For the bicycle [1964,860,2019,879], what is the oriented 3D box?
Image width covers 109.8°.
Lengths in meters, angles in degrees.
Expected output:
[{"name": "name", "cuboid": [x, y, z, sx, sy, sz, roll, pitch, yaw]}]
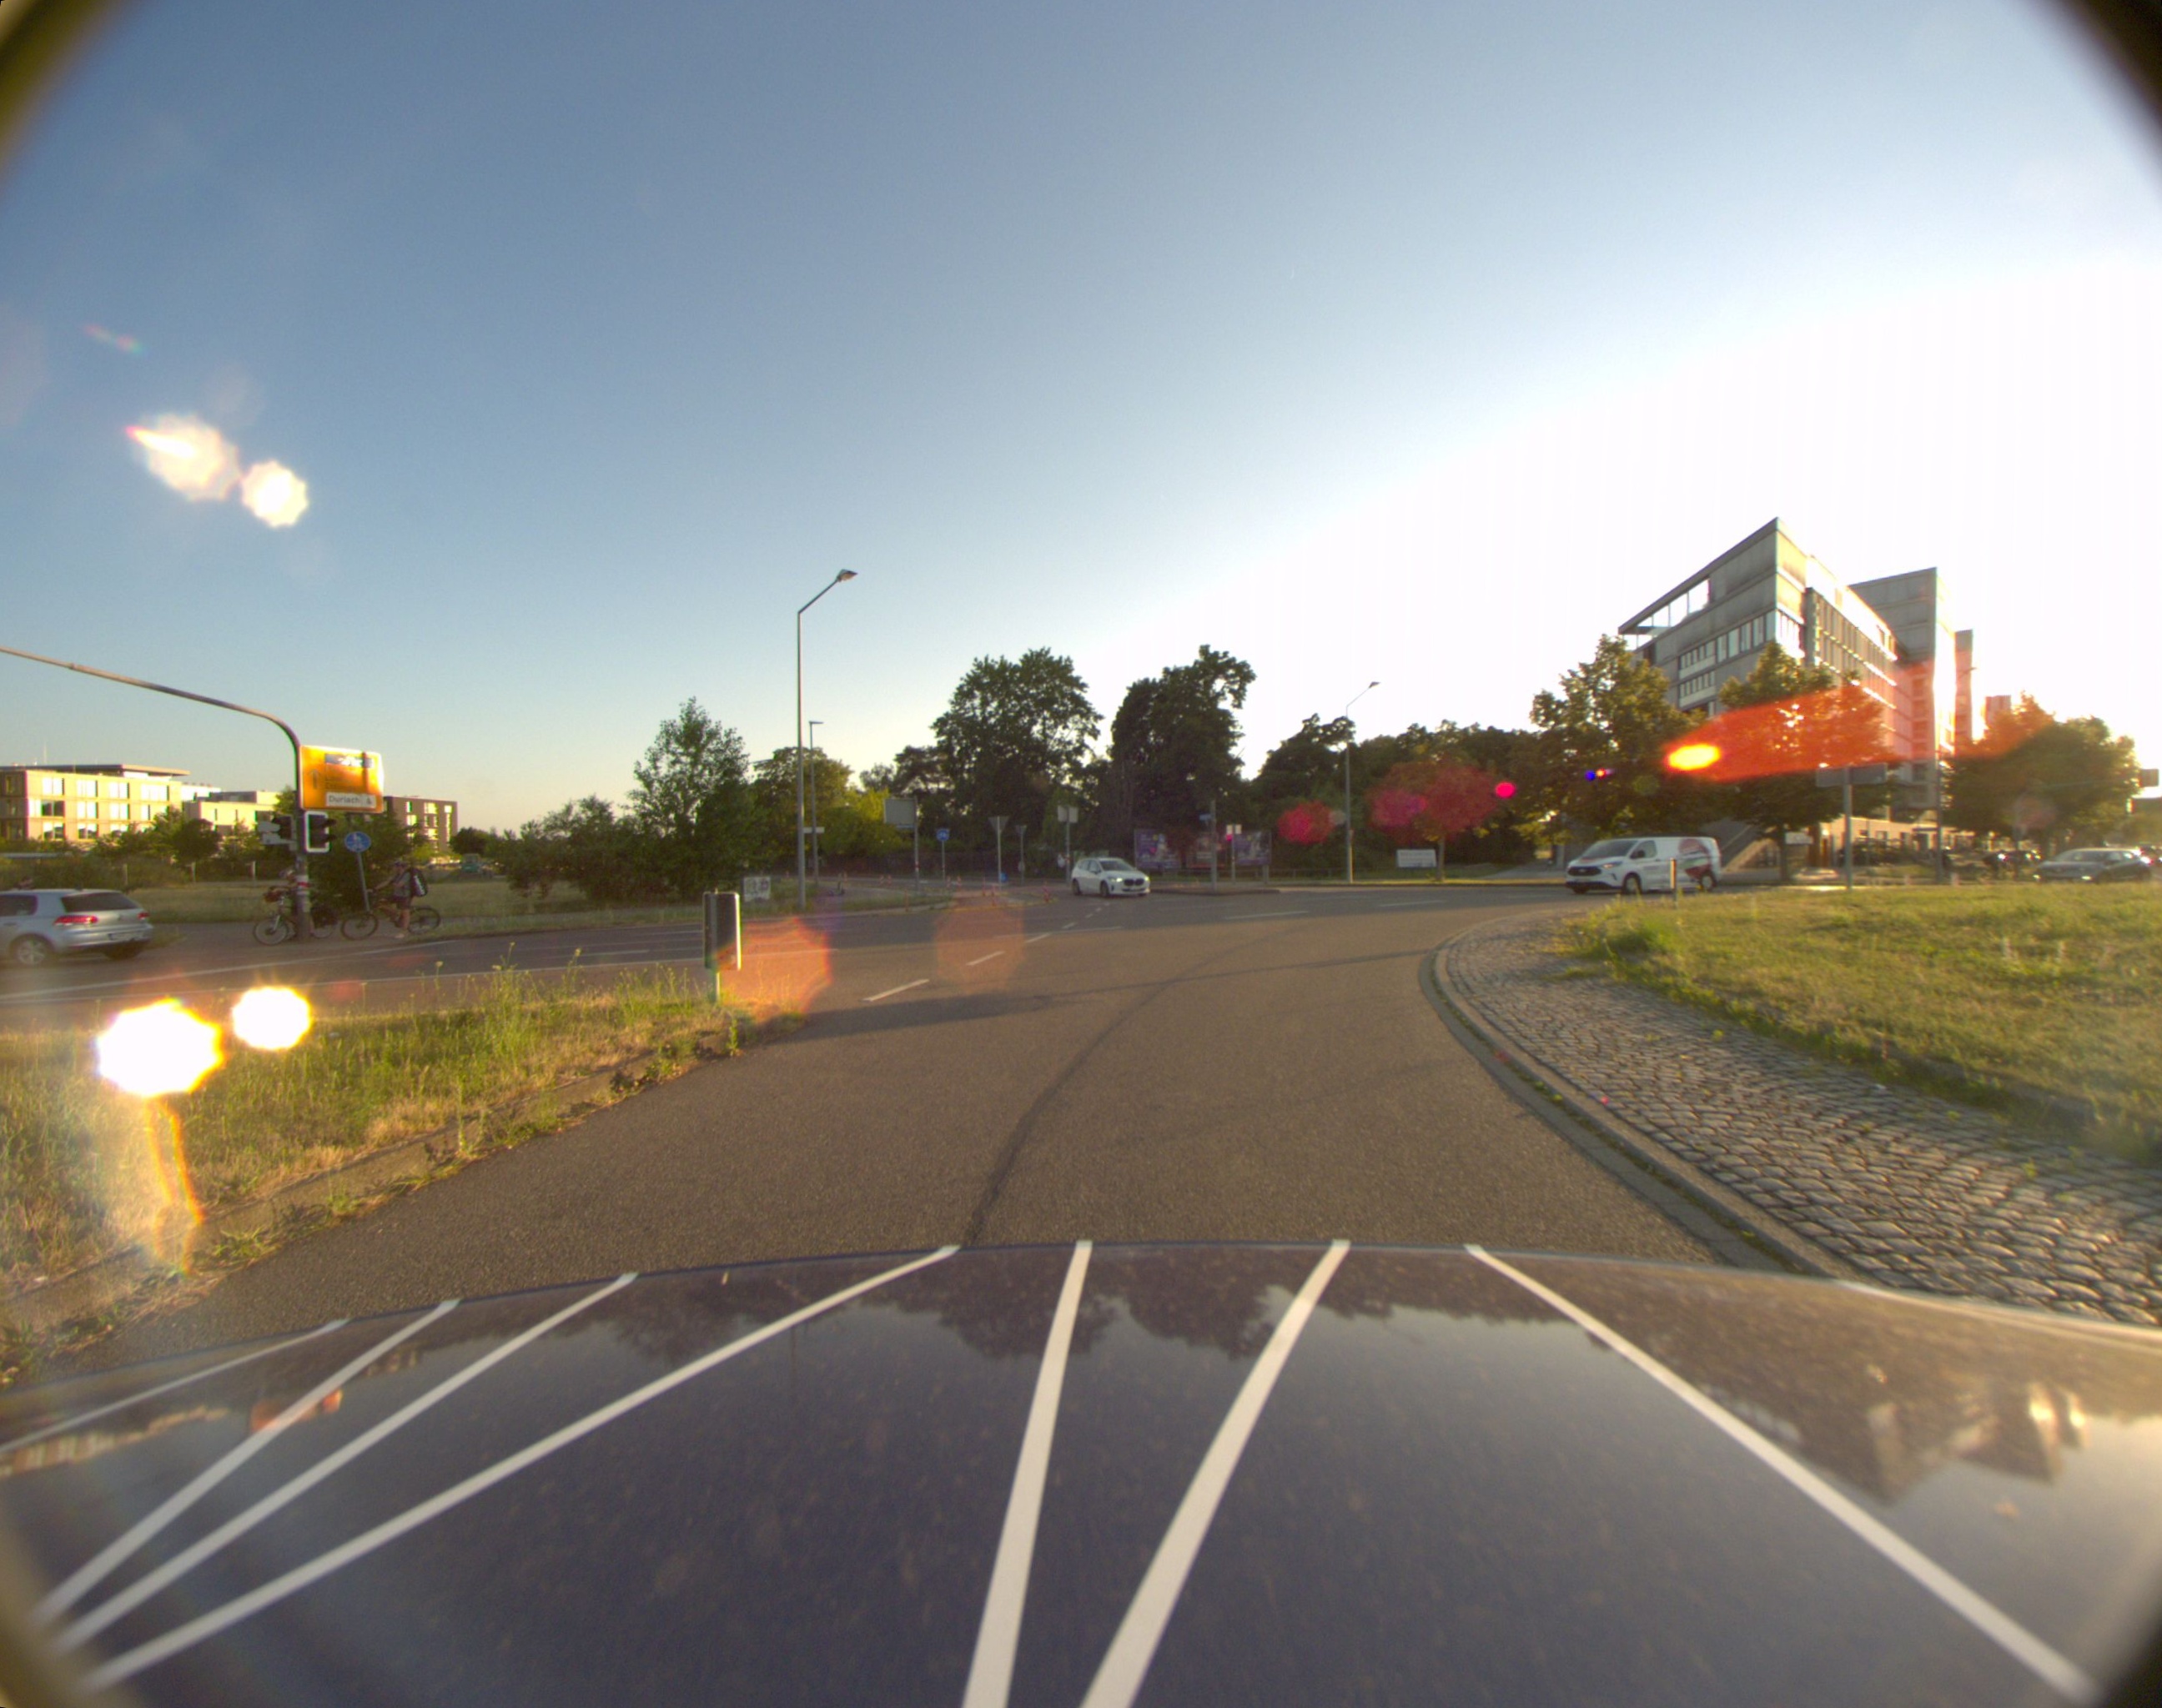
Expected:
[{"name": "bicycle", "cuboid": [49.525, 0.814, 41.350, 0.438, 1.016, 1.859, -1, 0, -29]}]

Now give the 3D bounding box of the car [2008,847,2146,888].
[{"name": "car", "cuboid": [40.574, 0.519, 30.990, 4.000, 1.527, 1.744, -1, 0, -9]}]

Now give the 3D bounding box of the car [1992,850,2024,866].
[{"name": "car", "cuboid": [89.174, 0.405, 73.075, 4.008, 1.455, 1.798, 0, 0, -37]}]

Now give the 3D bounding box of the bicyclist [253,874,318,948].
[{"name": "bicyclist", "cuboid": [-19.128, 1.347, 18.292, 0.641, 1.693, 0.770, -1, 3, 1]}]

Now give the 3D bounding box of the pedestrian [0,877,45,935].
[{"name": "pedestrian", "cuboid": [-29.286, 1.418, 20.850, 0.567, 1.541, 0.797, -1, 1, 4]}]

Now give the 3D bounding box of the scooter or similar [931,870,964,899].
[{"name": "scooter or similar", "cuboid": [-5.545, 1.241, 31.625, 0.441, 1.156, 1.386, 0, 0, 39]}]

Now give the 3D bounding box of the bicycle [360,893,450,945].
[{"name": "bicycle", "cuboid": [-17.045, 1.611, 19.228, 0.456, 1.079, 1.928, -1, 2, 2]}]

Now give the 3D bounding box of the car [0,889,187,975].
[{"name": "car", "cuboid": [-20.983, 1.532, 14.964, 4.051, 1.472, 1.891, -1, 0, -10]}]

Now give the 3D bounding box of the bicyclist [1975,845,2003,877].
[{"name": "bicyclist", "cuboid": [48.974, 0.375, 40.986, 0.805, 1.745, 0.847, -1, 0, -30]}]

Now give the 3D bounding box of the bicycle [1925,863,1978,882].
[{"name": "bicycle", "cuboid": [47.177, 0.991, 41.204, 1.858, 1.016, 0.308, -1, 0, 44]}]

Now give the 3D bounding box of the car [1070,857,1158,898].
[{"name": "car", "cuboid": [1.276, 0.902, 31.031, 1.893, 1.549, 4.087, -1, 0, -25]}]

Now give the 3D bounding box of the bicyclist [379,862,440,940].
[{"name": "bicyclist", "cuboid": [-16.998, 1.178, 19.257, 0.641, 1.887, 0.910, -1, 2, 1]}]

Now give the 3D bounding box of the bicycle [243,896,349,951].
[{"name": "bicycle", "cuboid": [-19.042, 1.661, 18.500, 0.456, 1.079, 1.928, -1, 3, 2]}]

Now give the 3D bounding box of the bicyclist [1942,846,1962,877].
[{"name": "bicyclist", "cuboid": [47.350, 0.395, 41.310, 0.682, 1.638, 0.685, 0, 0, 44]}]

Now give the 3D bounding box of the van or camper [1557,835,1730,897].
[{"name": "van or camper", "cuboid": [19.433, 0.380, 26.280, 5.332, 1.946, 1.997, -1, 1, -17]}]
